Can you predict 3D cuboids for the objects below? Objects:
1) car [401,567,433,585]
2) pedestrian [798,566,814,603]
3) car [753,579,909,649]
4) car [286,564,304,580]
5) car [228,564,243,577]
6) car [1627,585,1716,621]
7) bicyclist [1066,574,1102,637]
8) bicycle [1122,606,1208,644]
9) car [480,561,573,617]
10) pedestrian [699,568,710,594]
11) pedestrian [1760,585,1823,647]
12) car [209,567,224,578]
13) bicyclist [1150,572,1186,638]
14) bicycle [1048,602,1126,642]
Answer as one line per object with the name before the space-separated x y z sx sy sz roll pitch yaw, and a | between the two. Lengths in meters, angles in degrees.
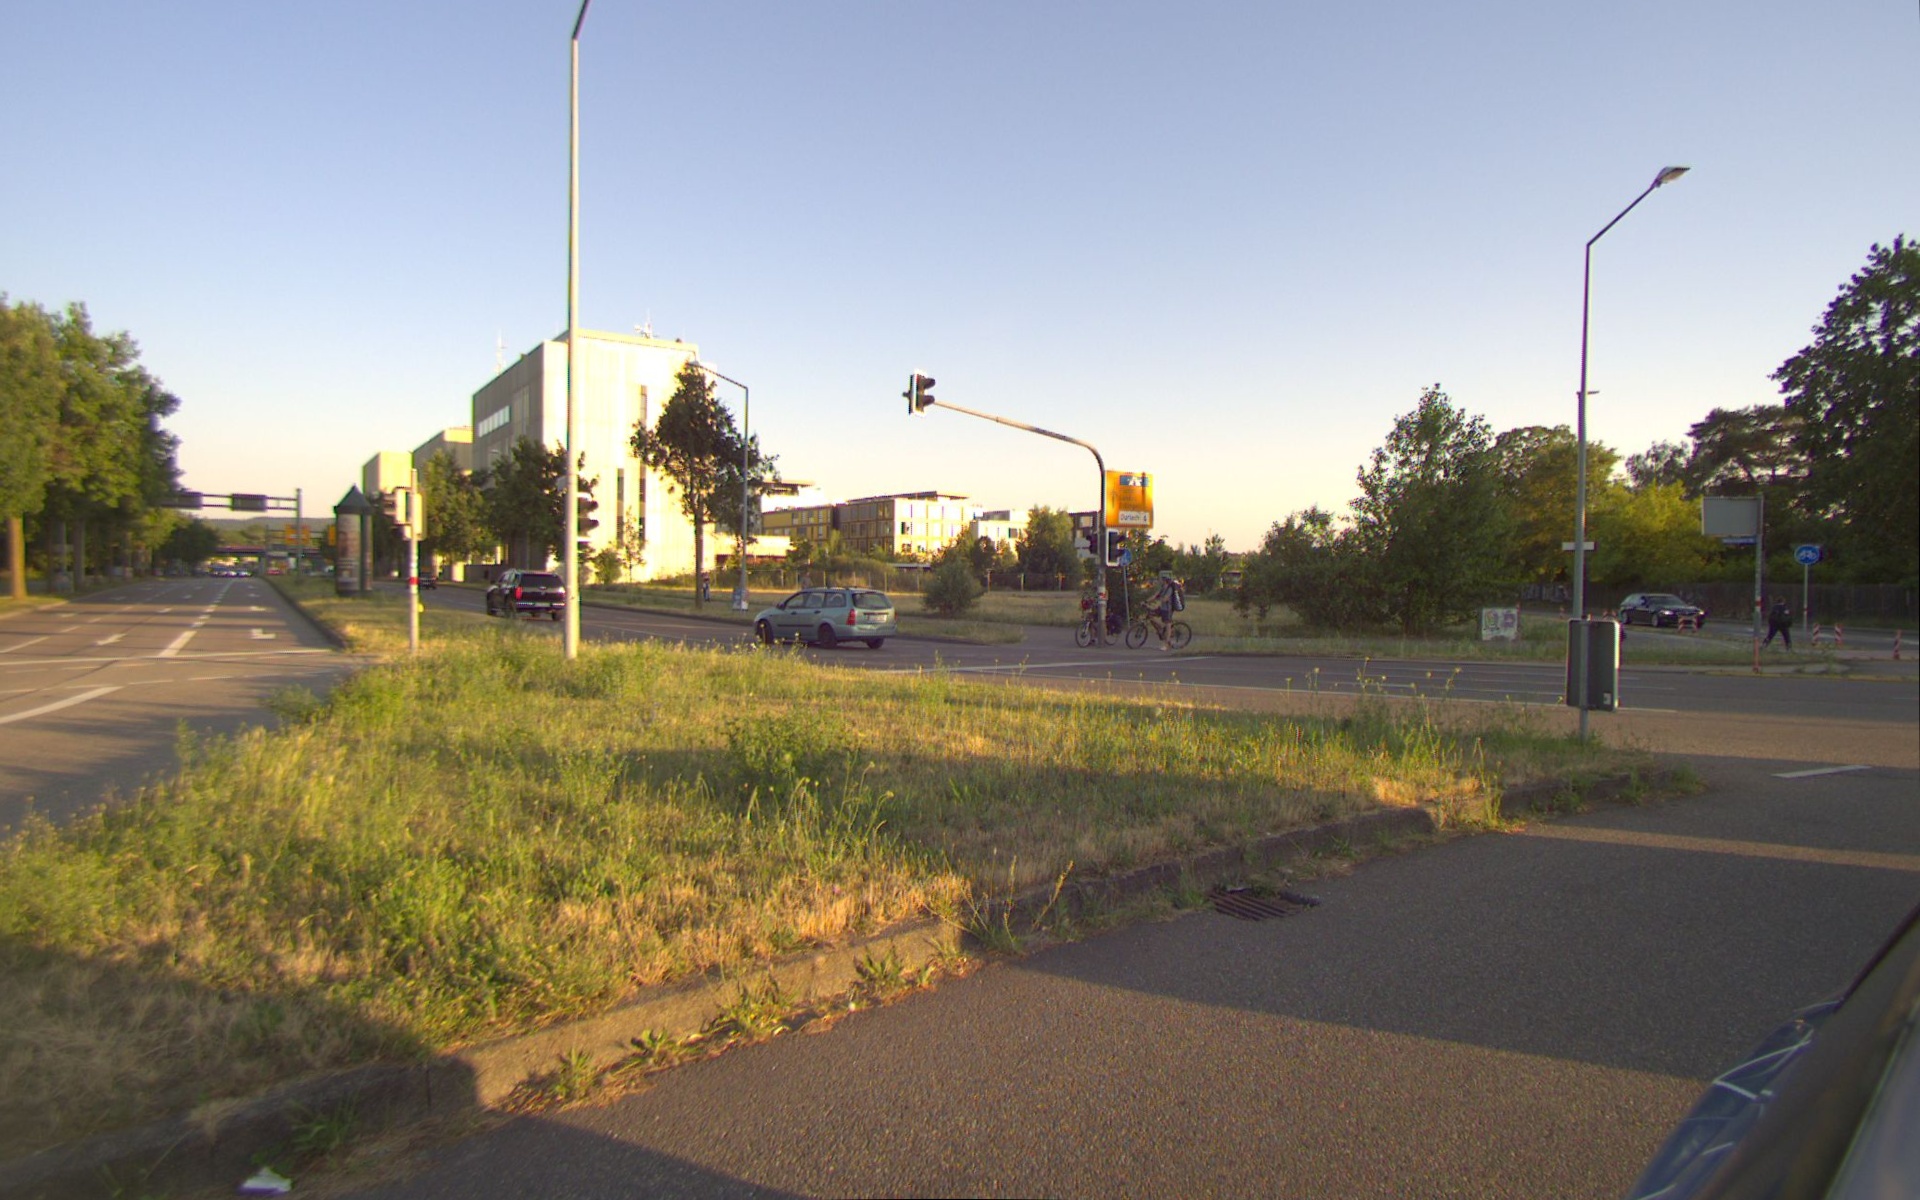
car | -43.352 -1.900 80.739 1.718 1.396 4.125 0 1 -36
pedestrian | -7.099 -0.721 46.527 0.555 1.705 0.520 0 1 -34
car | -3.272 0.284 25.167 3.987 1.566 1.732 2 2 44
car | -87.570 -3.696 133.385 1.961 2.039 4.002 0 1 -33
car | -117.385 -4.694 164.044 1.962 2.039 3.999 -1 1 -36
car | 32.150 0.091 45.853 1.971 1.504 3.983 1 1 14
bicyclist | 3.410 0.134 27.815 0.675 1.711 0.726 0 1 -28
bicycle | 5.410 0.655 26.701 2.100 0.975 0.711 0 1 -14
car | -15.881 -0.429 36.927 1.962 1.835 5.306 3 0 -36
pedestrian | -15.164 -1.145 60.042 0.492 1.531 0.531 0 1 -34
pedestrian | 22.481 0.412 27.371 0.977 1.610 0.923 1 1 14
car | -126.785 -4.720 172.528 1.964 1.803 3.996 -1 1 -38
bicyclist | 5.481 0.132 26.720 0.675 1.711 0.727 0 1 -12
bicycle | 3.498 0.585 27.833 2.064 0.975 0.711 -2 2 -26
